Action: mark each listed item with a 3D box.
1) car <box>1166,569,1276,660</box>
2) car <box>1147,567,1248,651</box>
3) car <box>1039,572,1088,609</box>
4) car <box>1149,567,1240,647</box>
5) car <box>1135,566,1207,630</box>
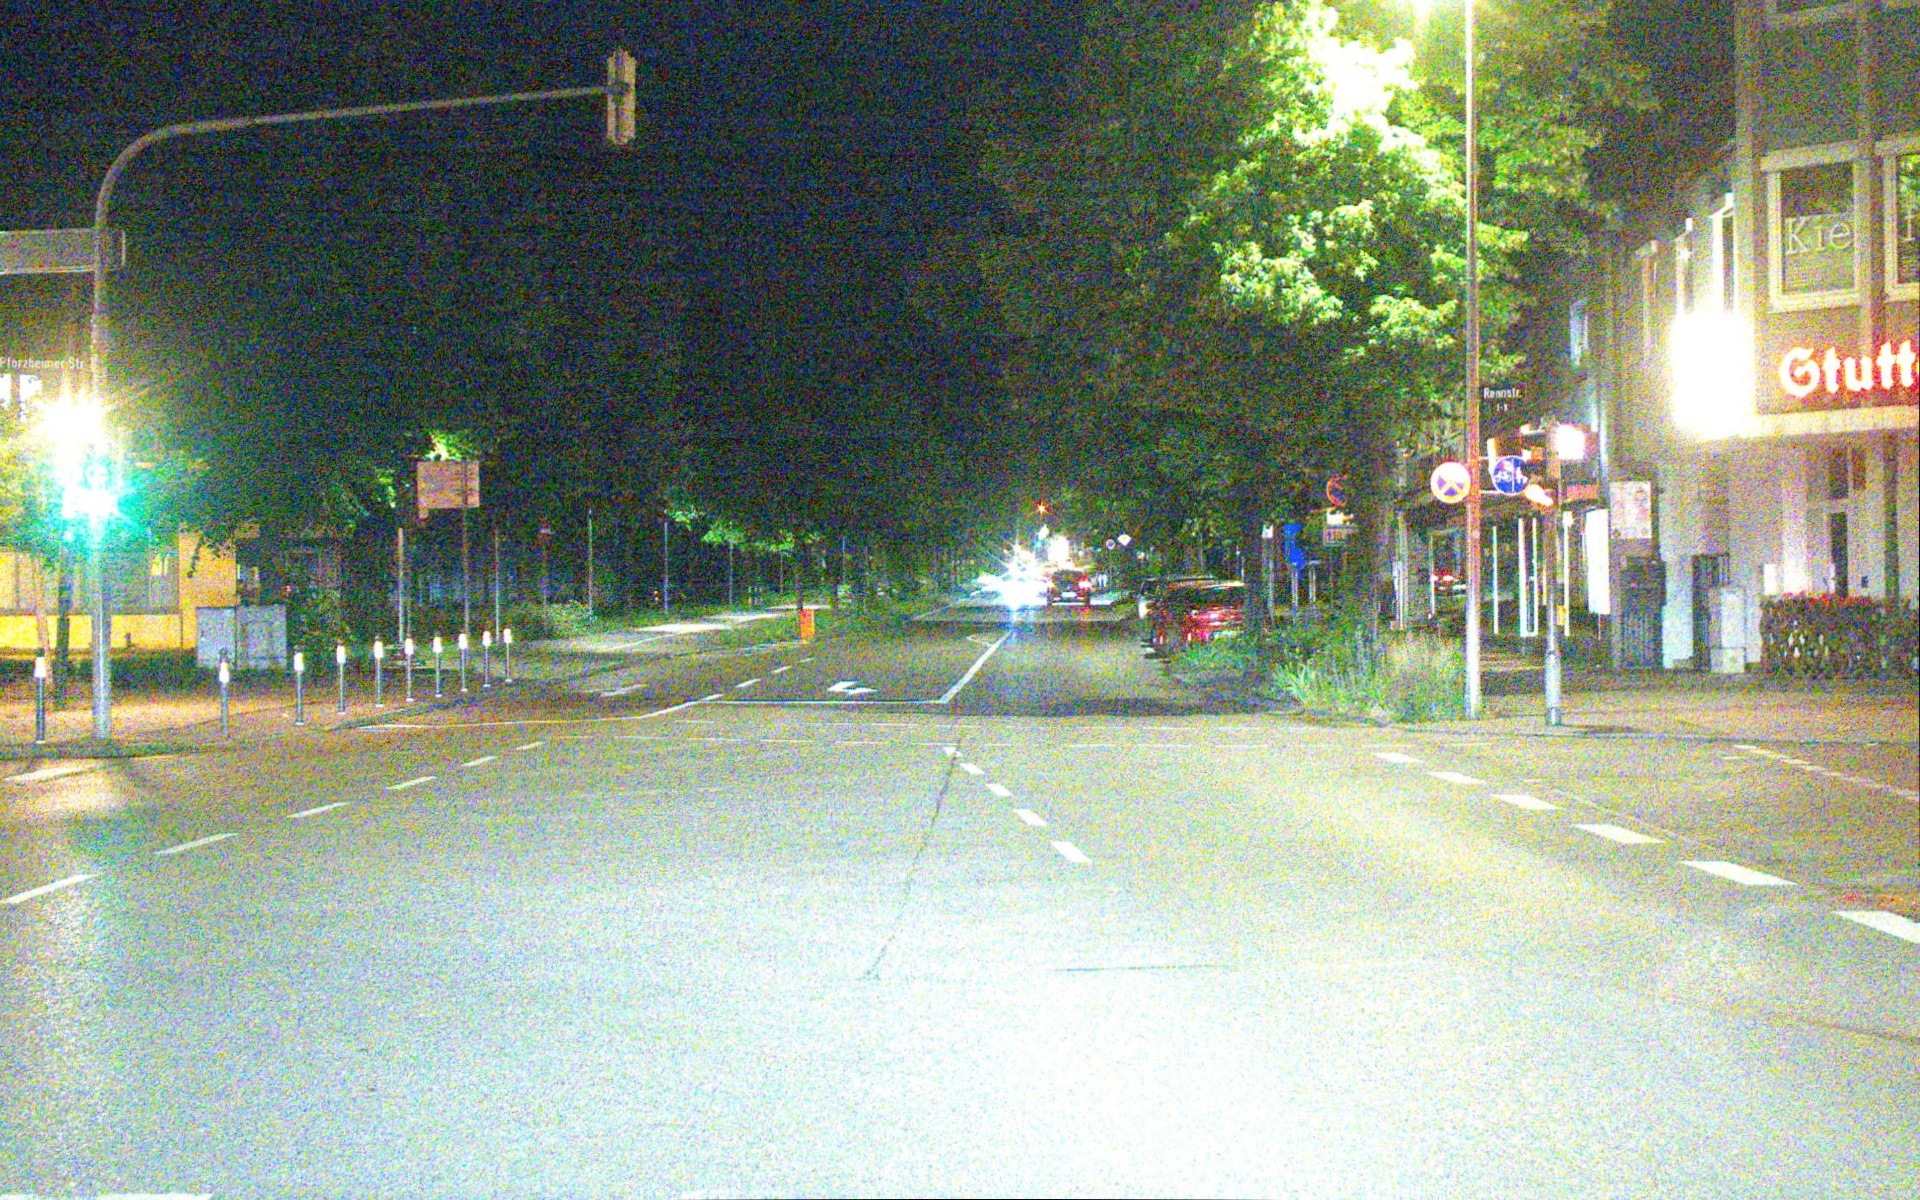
[{"bbox_3d":[4.783,0.249,63.413,1.876,1.610,4.000,0,0,2],"label":"car"},{"bbox_3d":[4.709,0.172,68.498,1.876,1.610,4.000,0,0,2],"label":"car"},{"bbox_3d":[4.265,-0.398,141.964,1.873,1.449,4.316,1,0,0],"label":"car"},{"bbox_3d":[5.169,0.139,76.169,1.876,1.723,4.000,0,0,2],"label":"car"},{"bbox_3d":[5.758,-0.064,94.180,1.876,1.678,4.000,0,0,2],"label":"car"}]
